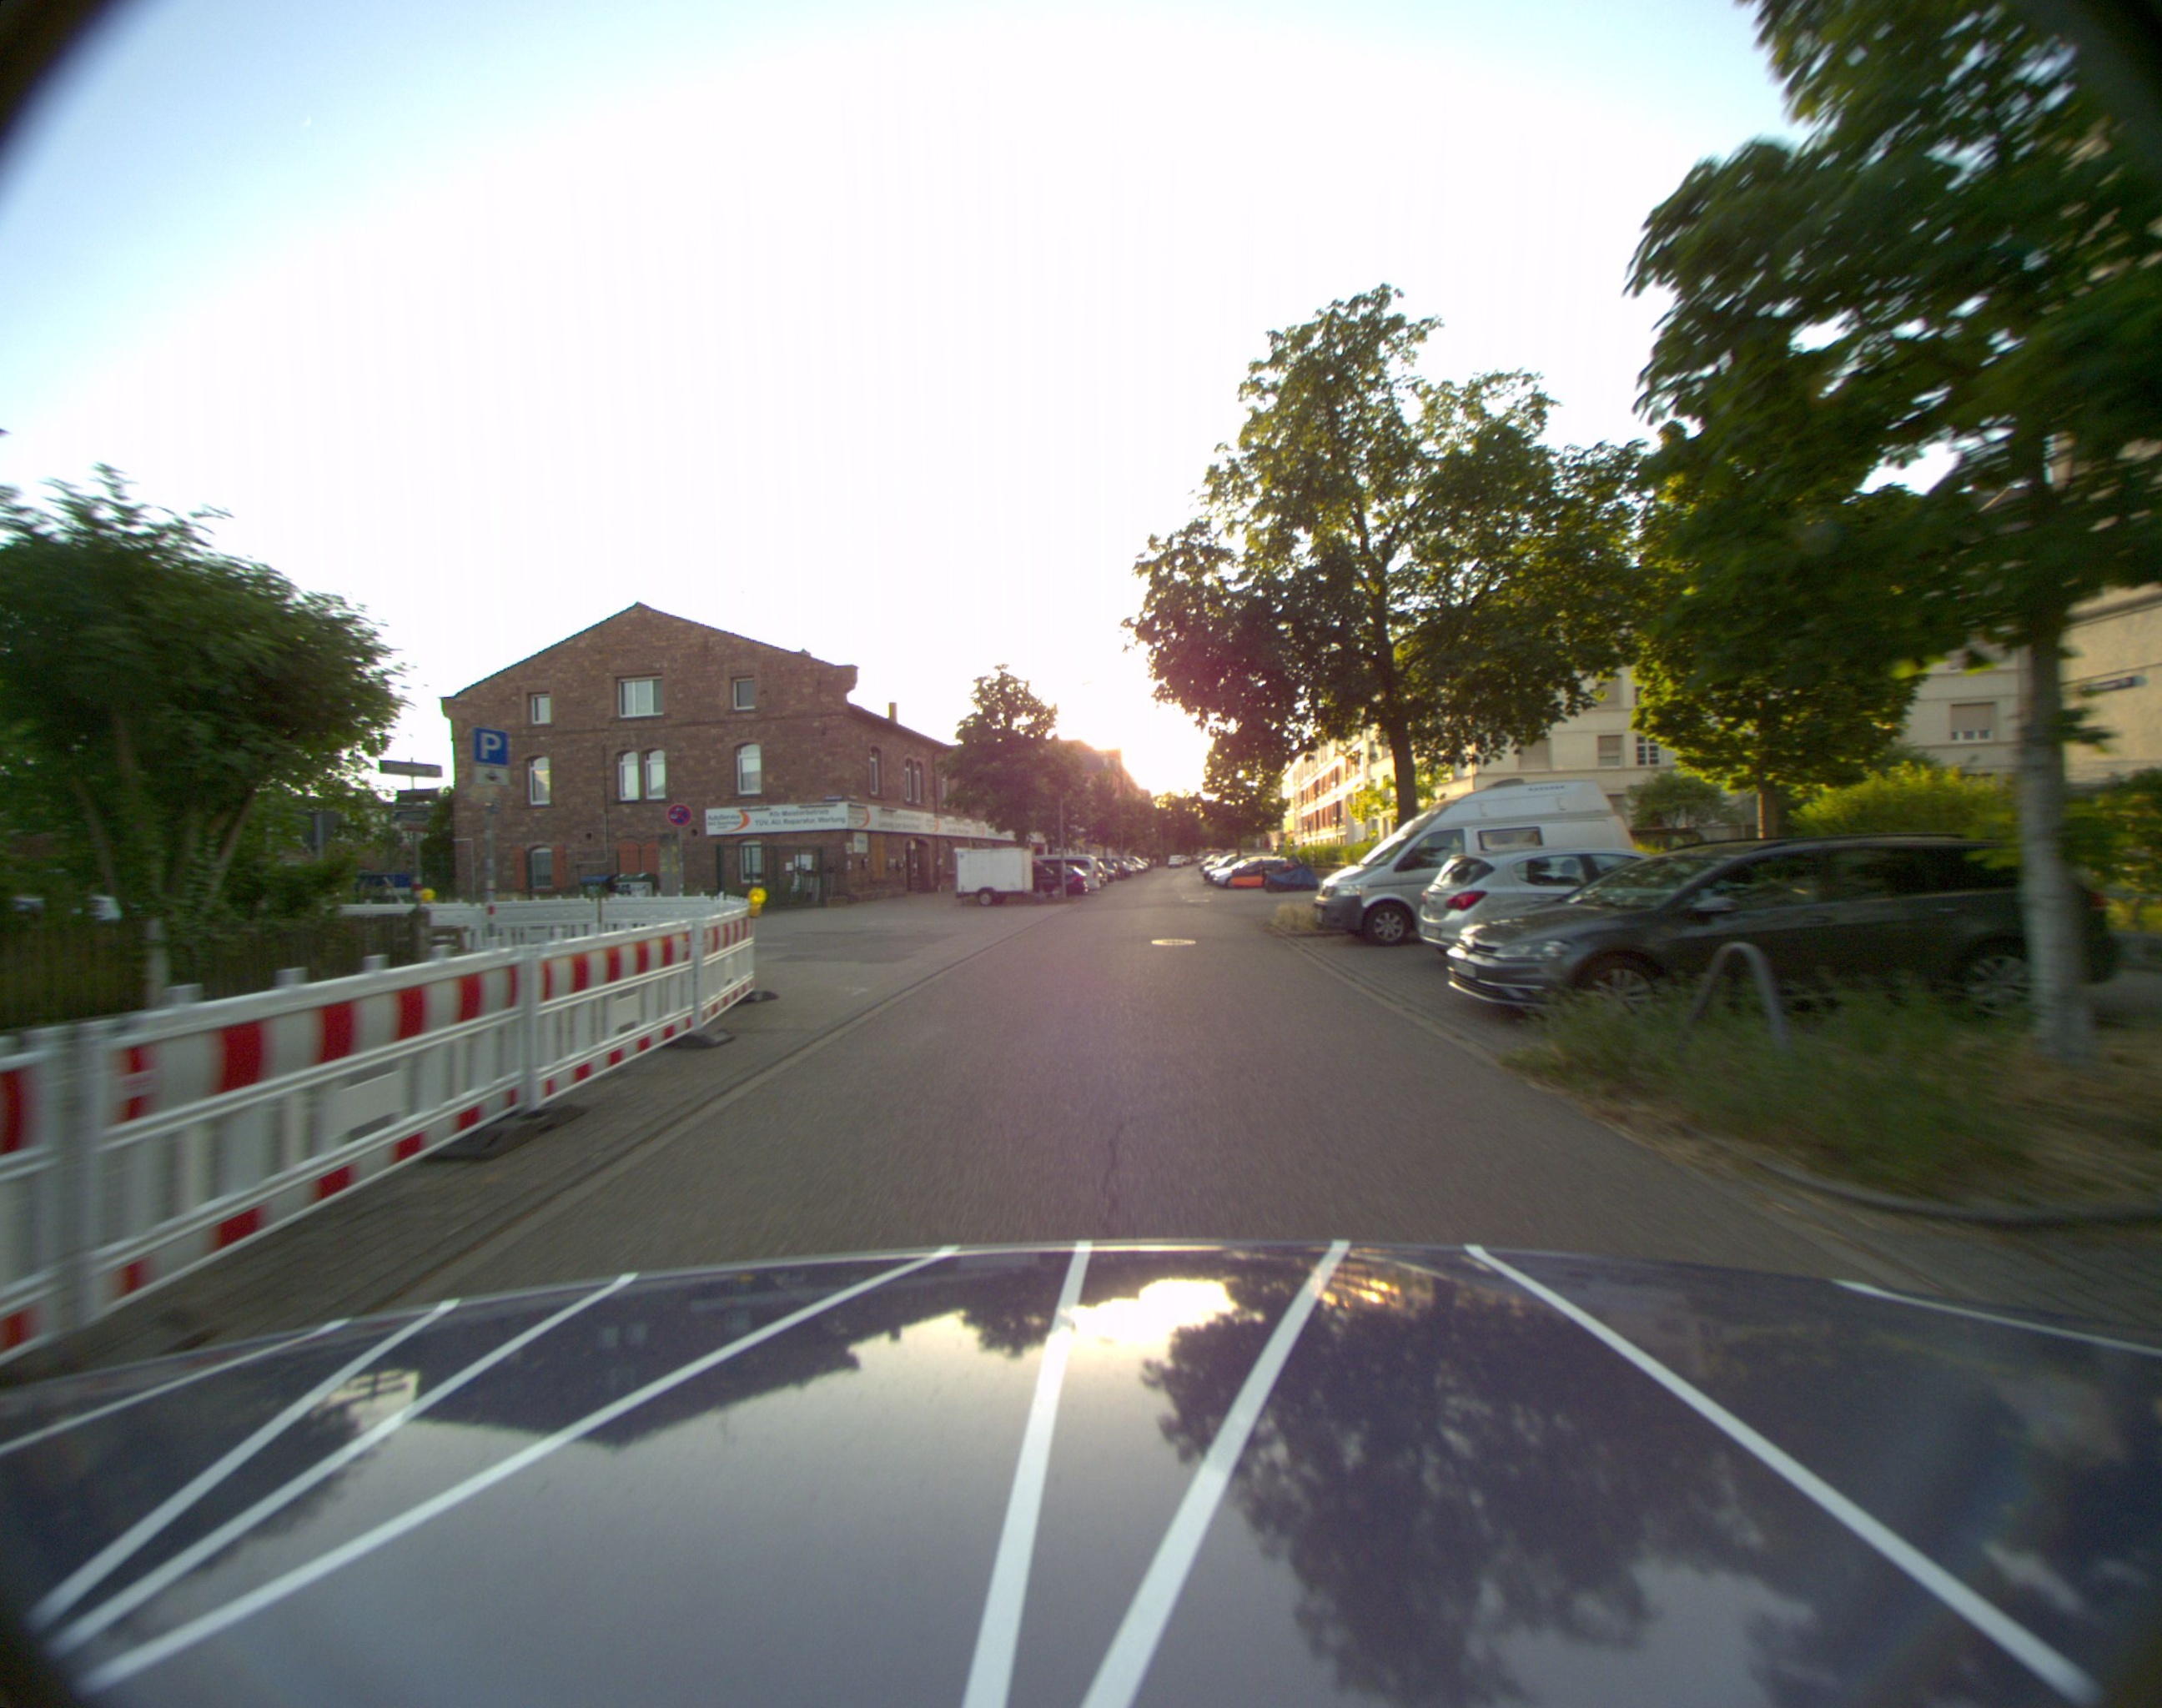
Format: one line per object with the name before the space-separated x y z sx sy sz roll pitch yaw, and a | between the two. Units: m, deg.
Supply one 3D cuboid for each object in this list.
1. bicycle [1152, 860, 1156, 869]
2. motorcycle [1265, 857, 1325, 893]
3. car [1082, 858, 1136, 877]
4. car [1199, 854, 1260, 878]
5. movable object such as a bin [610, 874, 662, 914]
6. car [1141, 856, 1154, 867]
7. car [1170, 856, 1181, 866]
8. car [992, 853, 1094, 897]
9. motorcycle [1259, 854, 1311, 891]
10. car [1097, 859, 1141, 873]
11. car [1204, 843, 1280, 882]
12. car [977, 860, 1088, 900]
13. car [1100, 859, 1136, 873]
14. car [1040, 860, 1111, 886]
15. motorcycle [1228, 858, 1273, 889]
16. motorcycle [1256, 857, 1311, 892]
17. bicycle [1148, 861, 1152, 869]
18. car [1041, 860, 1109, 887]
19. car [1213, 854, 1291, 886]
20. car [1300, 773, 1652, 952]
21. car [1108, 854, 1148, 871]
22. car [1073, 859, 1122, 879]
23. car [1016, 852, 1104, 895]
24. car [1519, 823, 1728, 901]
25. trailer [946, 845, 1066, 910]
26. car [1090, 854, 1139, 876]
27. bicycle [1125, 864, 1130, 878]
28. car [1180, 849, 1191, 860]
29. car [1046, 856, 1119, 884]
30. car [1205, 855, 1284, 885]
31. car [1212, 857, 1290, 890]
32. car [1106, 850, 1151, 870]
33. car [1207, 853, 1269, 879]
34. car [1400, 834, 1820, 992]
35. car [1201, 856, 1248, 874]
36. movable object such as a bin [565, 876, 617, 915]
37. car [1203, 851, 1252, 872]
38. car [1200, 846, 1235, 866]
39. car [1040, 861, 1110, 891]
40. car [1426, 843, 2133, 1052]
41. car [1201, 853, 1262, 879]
bicycle | 9.247 1.383 96.725 0.357 1.093 1.973 -2 0 8
motorcycle | 9.183 0.885 32.692 2.387 1.428 0.882 -2 0 10
car | 2.632 1.250 70.182 4.702 1.622 2.002 1 0 10
car | 11.433 0.924 58.764 4.417 1.443 1.828 -5 0 6
movable object such as a bin | -17.410 1.559 29.754 1.262 1.435 1.098 -2 0 10
car | 10.352 1.146 118.729 1.799 1.515 4.002 -2 0 8
car | 14.644 1.073 117.687 1.731 1.367 3.765 -2 0 8
car | -1.709 0.929 34.712 4.309 1.788 1.905 -2 0 7
motorcycle | 9.366 0.844 34.949 2.235 1.573 0.774 -2 0 10
car | 4.293 1.307 84.886 4.730 1.487 2.001 0 0 8
car | 10.308 0.570 48.776 4.520 2.057 2.002 -5 -2 11
car | -2.022 1.097 32.536 4.436 1.490 1.774 -2 0 7
car | 4.017 1.303 82.384 3.792 1.488 1.682 0 0 7
car | -0.327 1.216 50.012 4.423 1.565 1.983 1 -1 6
motorcycle | 8.297 0.958 37.163 1.990 1.428 0.722 -2 0 3
motorcycle | 8.974 0.917 33.763 2.235 1.428 0.774 -2 0 10
bicycle | 8.840 1.428 96.777 0.357 1.018 1.973 -2 0 8
car | -0.326 1.207 47.370 3.995 1.609 1.896 0 0 6
car | 9.256 0.855 41.325 3.994 1.574 1.730 -2 0 9
car | 6.324 0.151 12.680 4.742 2.554 2.001 -2 0 4
car | 5.394 0.956 87.540 4.298 1.847 2.002 -1 0 12
car | 1.430 1.274 65.473 3.994 1.537 1.846 1 1 8
car | -0.974 0.939 37.311 3.995 1.892 2.001 -2 0 7
car | 15.842 0.234 22.429 4.586 2.002 2.001 -2 0 6
trailer | -2.723 0.852 28.212 3.995 2.174 2.001 -2 0 8
car | 3.334 1.066 75.099 4.594 1.851 2.013 2 1 10
bicycle | 4.104 1.526 66.948 0.309 1.185 1.763 -2 0 8
car | 19.797 0.054 143.591 1.997 2.002 4.002 -2 0 8
car | 0.154 1.099 52.751 4.795 1.743 2.019 1 -1 7
car | 9.400 0.930 43.975 4.334 1.397 1.853 -4 0 9
car | 8.605 0.964 38.787 3.720 1.497 1.691 -2 0 8
car | 5.702 0.680 90.361 4.968 2.089 2.153 -2 1 13
car | 11.057 0.842 53.698 3.995 1.475 1.757 -6 -1 7
car | 6.166 0.665 9.231 3.812 1.513 1.653 -4 0 4
car | 13.558 1.035 71.981 4.147 1.408 1.739 -4 0 5
movable object such as a bin | -19.394 1.641 30.094 1.288 1.435 1.060 -2 0 10
car | 14.820 0.754 76.807 4.862 2.043 2.002 -1 0 12
car | 18.262 0.289 101.836 4.409 2.541 1.933 -2 0 10
car | -0.320 1.270 44.800 3.954 1.556 1.821 -2 0 4
car | 5.485 0.722 6.493 4.253 1.386 1.685 -3 0 6
car | 11.046 0.855 56.178 4.251 1.611 1.814 -4 -1 8
